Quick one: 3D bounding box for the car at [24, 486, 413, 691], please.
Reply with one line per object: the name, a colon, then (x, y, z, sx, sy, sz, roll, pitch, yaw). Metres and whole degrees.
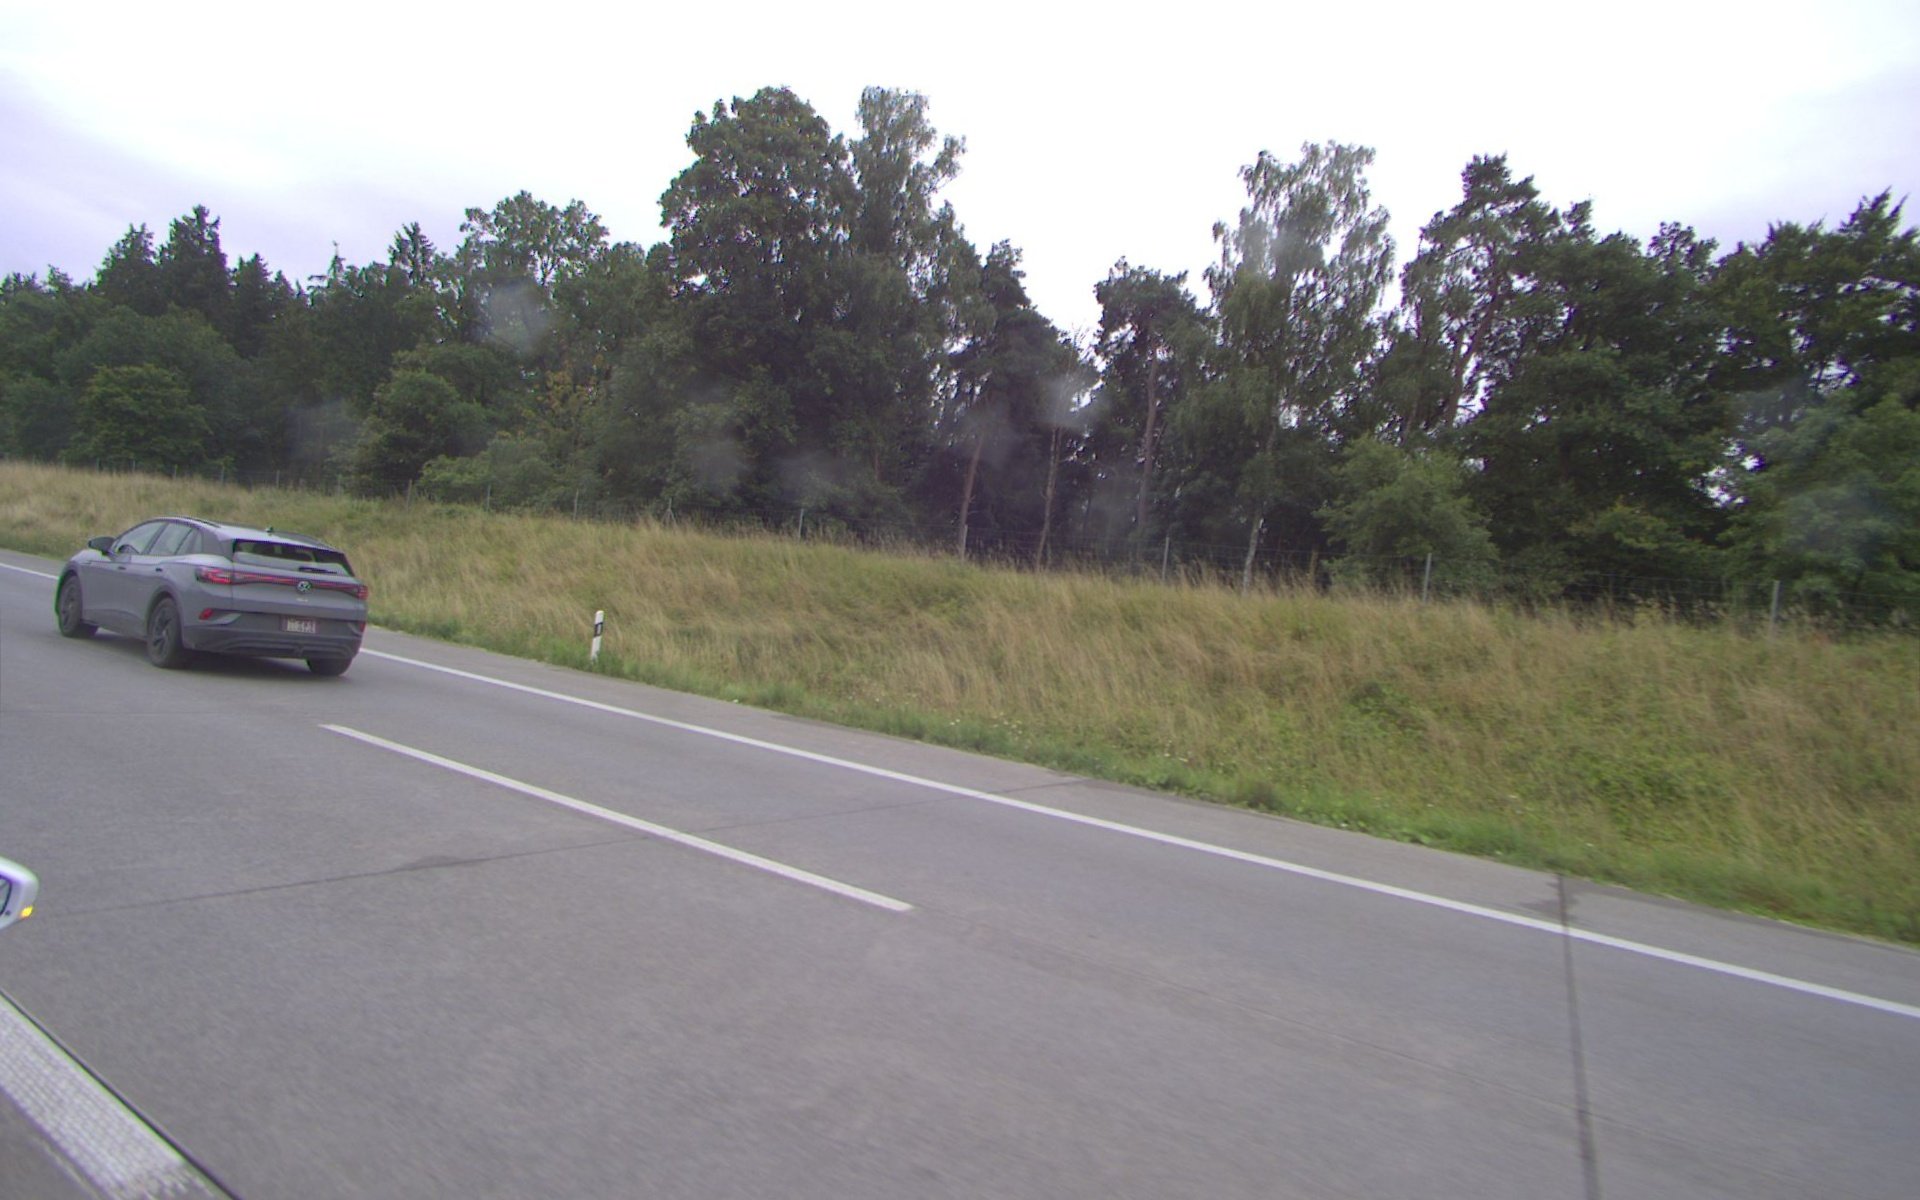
car: (-9.037, -0.198, 12.107, 5.179, 1.709, 1.901, 8, -1, 33)
